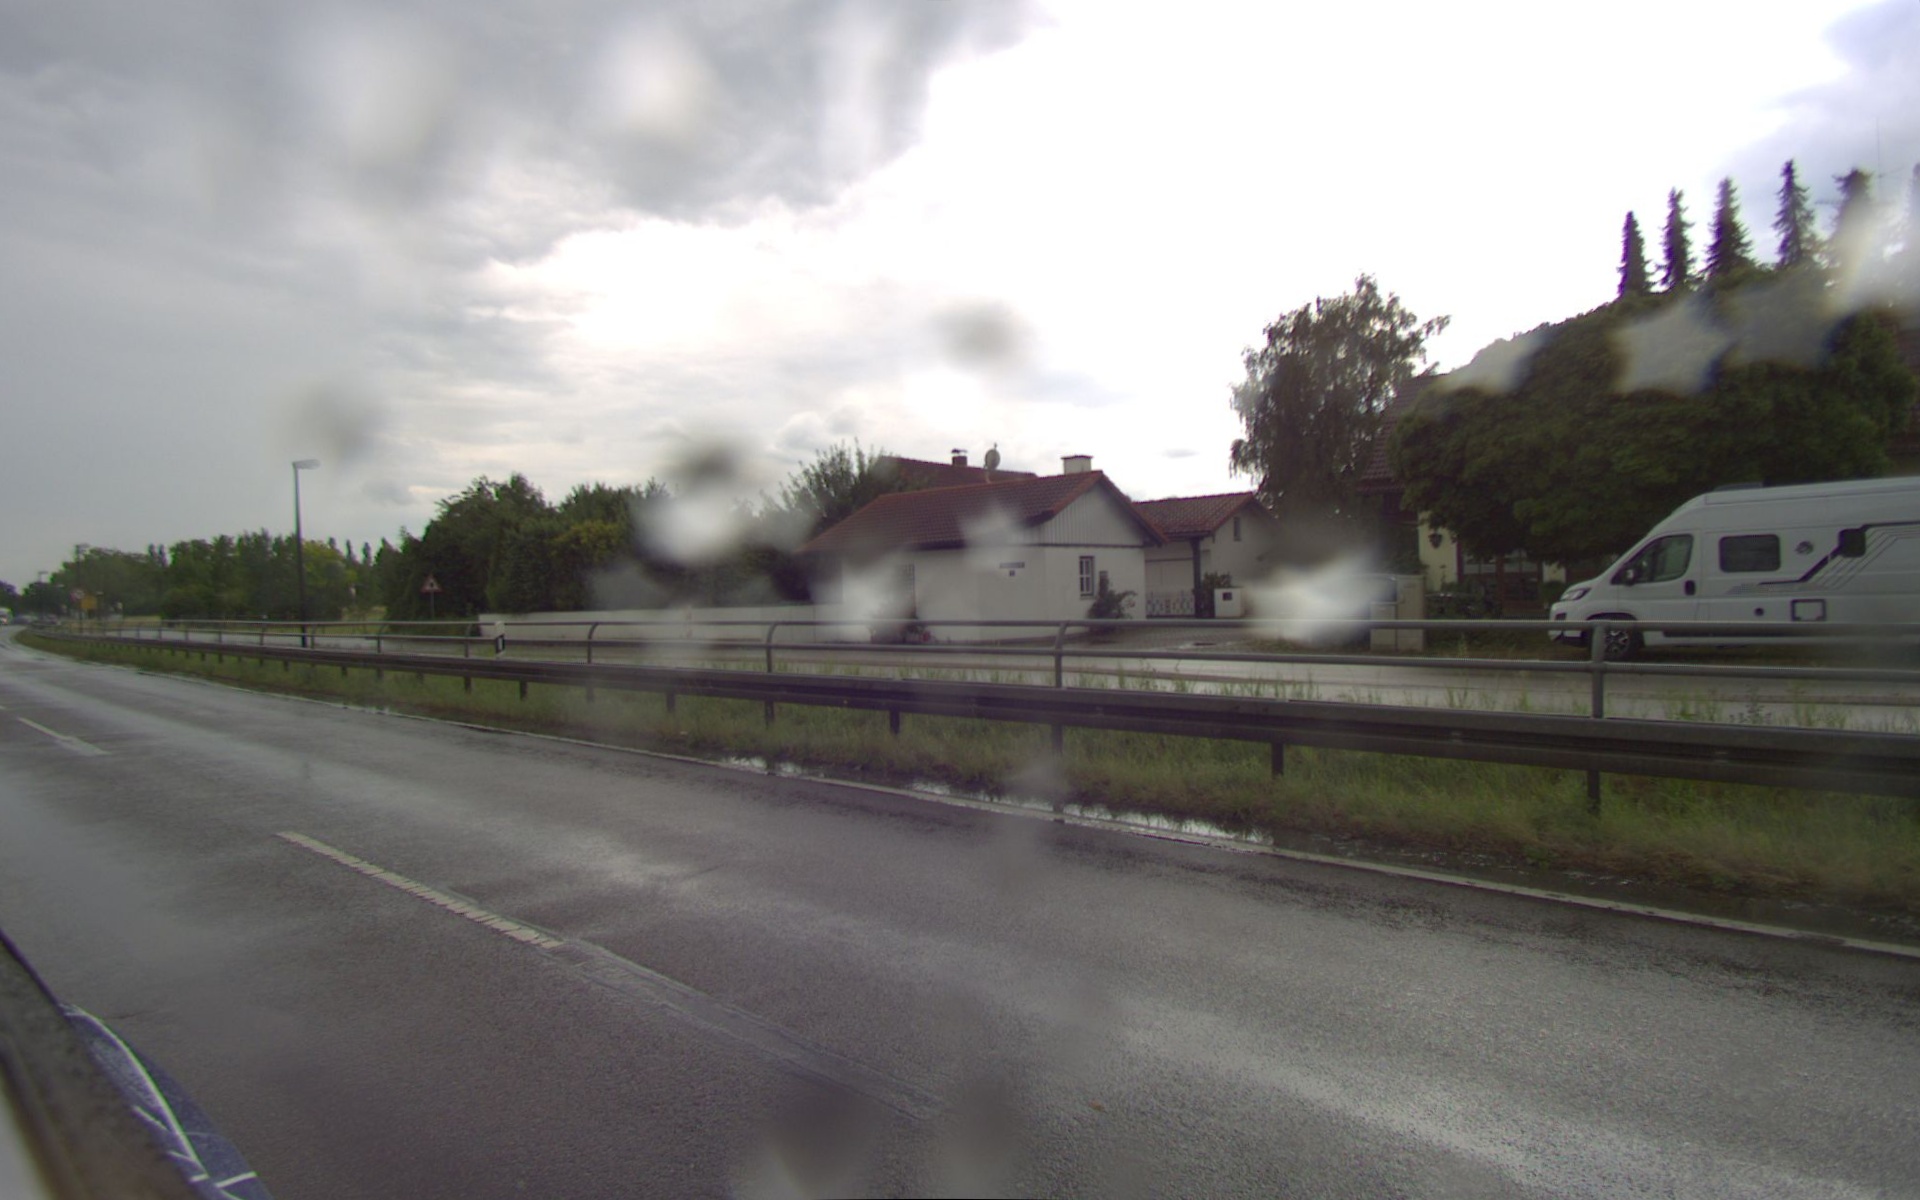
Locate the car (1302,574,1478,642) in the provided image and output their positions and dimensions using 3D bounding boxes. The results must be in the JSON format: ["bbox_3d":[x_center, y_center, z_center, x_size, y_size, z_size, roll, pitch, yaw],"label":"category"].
[{"bbox_3d":[9.423,0.182,22.285,3.268,1.366,1.434,-1,1,41],"label":"car"}]

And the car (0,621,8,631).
[{"bbox_3d":[-178.727,4.809,188.434,4.024,1.746,1.789,-2,1,41],"label":"car"}]

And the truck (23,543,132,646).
[{"bbox_3d":[-46.761,-0.248,53.545,7.780,5.071,3.215,-1,1,42],"label":"truck"}]

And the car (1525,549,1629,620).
[{"bbox_3d":[15.767,-0.405,25.772,2.019,1.567,3.684,-4,0,34],"label":"car"}]

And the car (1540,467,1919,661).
[{"bbox_3d":[12.434,-0.489,15.339,6.013,2.600,2.215,-2,1,39],"label":"car"}]
